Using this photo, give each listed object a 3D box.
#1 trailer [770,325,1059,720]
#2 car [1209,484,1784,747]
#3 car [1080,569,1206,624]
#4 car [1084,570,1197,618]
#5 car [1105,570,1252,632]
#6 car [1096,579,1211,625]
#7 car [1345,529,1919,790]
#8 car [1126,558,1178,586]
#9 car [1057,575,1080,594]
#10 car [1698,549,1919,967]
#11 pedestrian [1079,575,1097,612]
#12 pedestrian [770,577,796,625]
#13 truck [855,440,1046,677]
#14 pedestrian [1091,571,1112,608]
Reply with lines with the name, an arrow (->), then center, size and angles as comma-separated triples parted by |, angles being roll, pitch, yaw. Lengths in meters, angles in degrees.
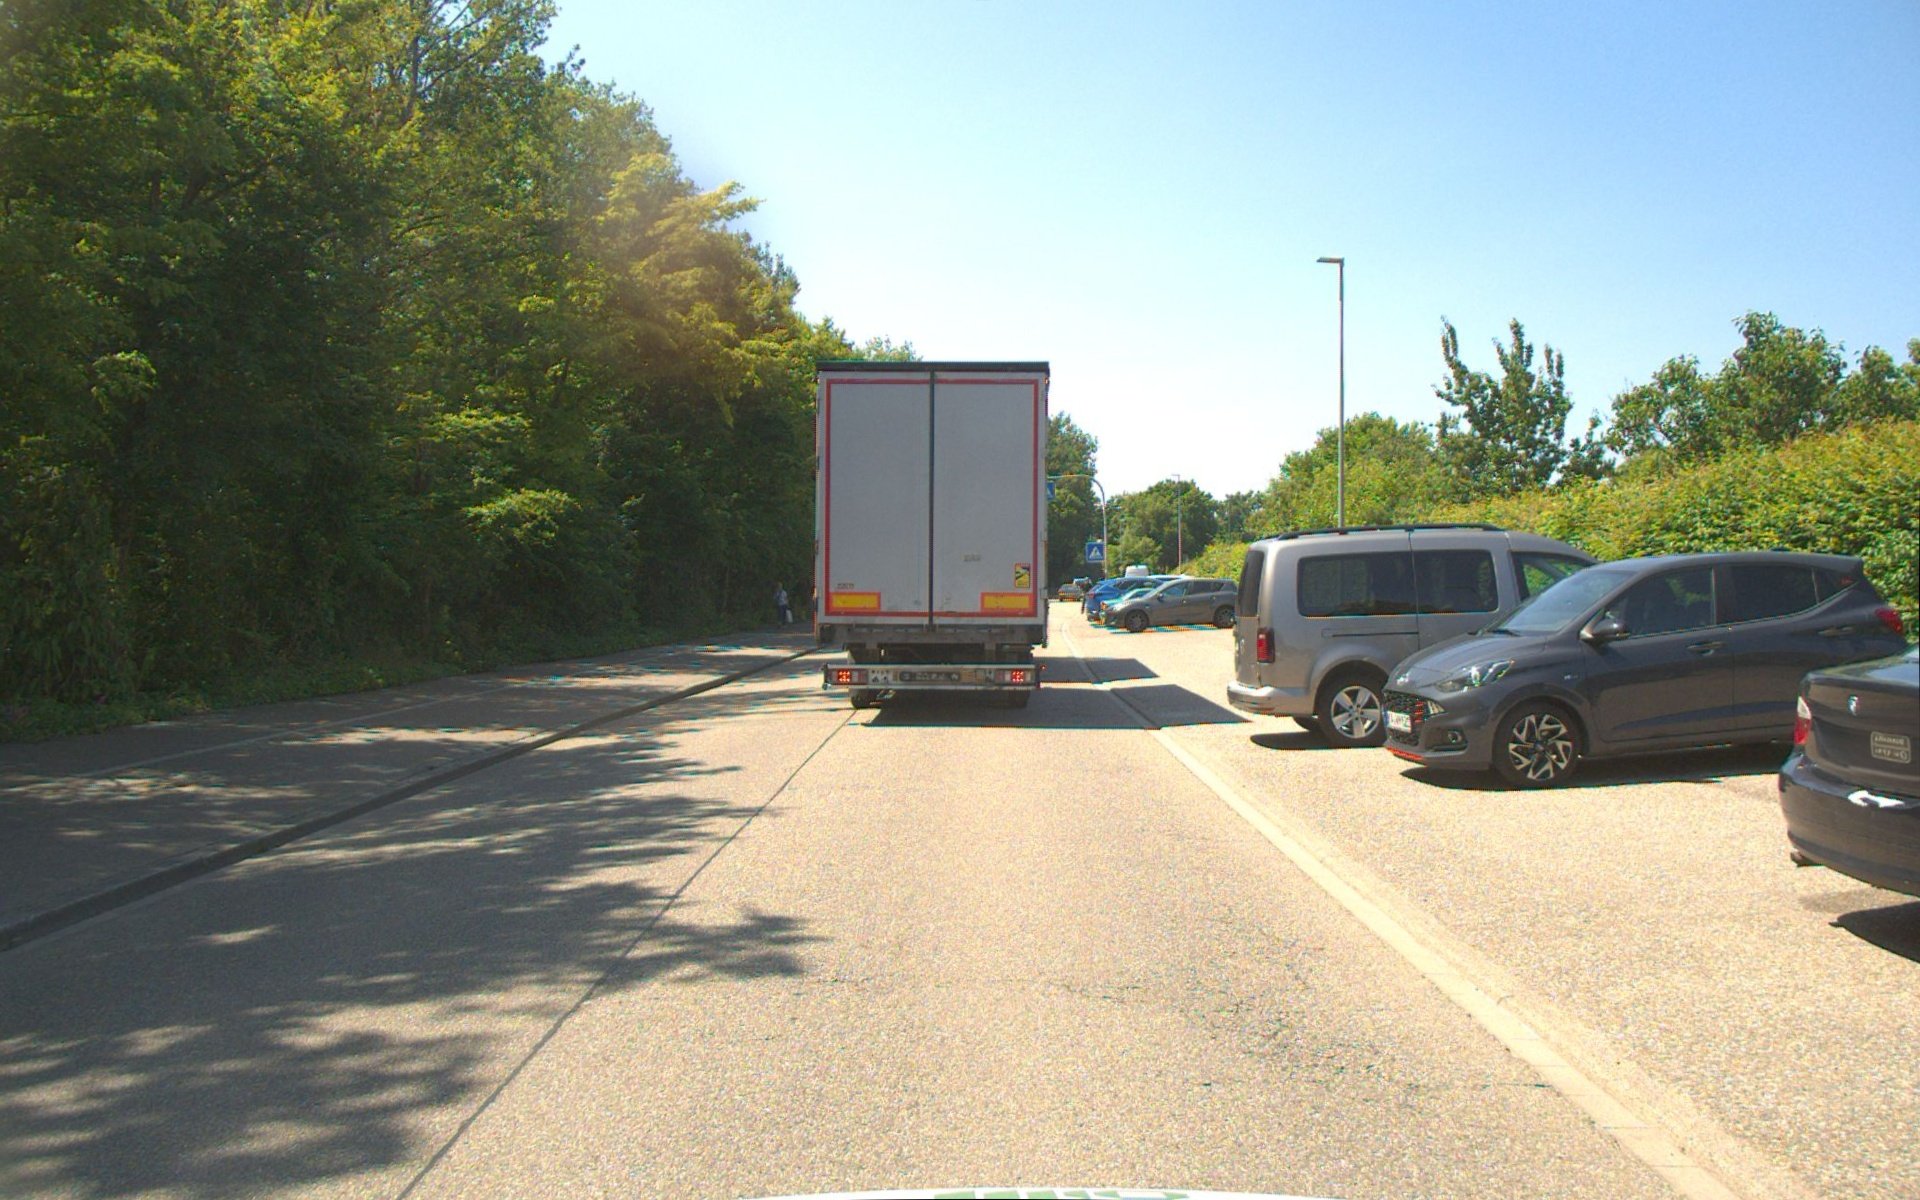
trailer -> -0.272, -0.862, 23.268 | 3.048, 4.174, 11.540 | 0, 0, 2
car -> 4.744, 0.118, 15.172 | 4.527, 1.880, 1.996 | -5, 1, 1
car -> 6.355, -0.135, 57.767 | 4.150, 1.662, 1.823 | -3, 0, 2
car -> 6.920, -0.212, 63.720 | 4.148, 1.683, 1.900 | -2, -1, 1
car -> 6.378, 0.014, 48.631 | 4.078, 1.521, 1.883 | -4, 0, 2
car -> 6.402, 0.066, 54.916 | 3.657, 1.290, 1.629 | -4, 0, 4
car -> 4.837, 0.375, 12.044 | 3.506, 1.528, 1.840 | -4, 1, -5
car -> 14.878, -2.134, 128.186 | 3.873, 1.829, 1.814 | -4, -2, 6
car -> 8.913, -1.257, 136.696 | 1.744, 1.512, 4.001 | -1, 1, 2
car -> 5.355, 0.404, 6.396 | 4.121, 1.412, 1.840 | -5, 1, -3
pedestrian -> 6.743, -0.350, 87.135 | 0.804, 1.866, 0.793 | -4, 0, 9
pedestrian -> -6.181, 0.039, 57.851 | 0.811, 1.651, 0.783 | 0, 1, 1
truck -> -0.033, -0.712, 29.830 | 3.049, 3.790, 6.416 | 0, 1, 2
pedestrian -> 7.308, -0.555, 85.291 | 0.888, 1.829, 0.936 | -4, 0, 9
